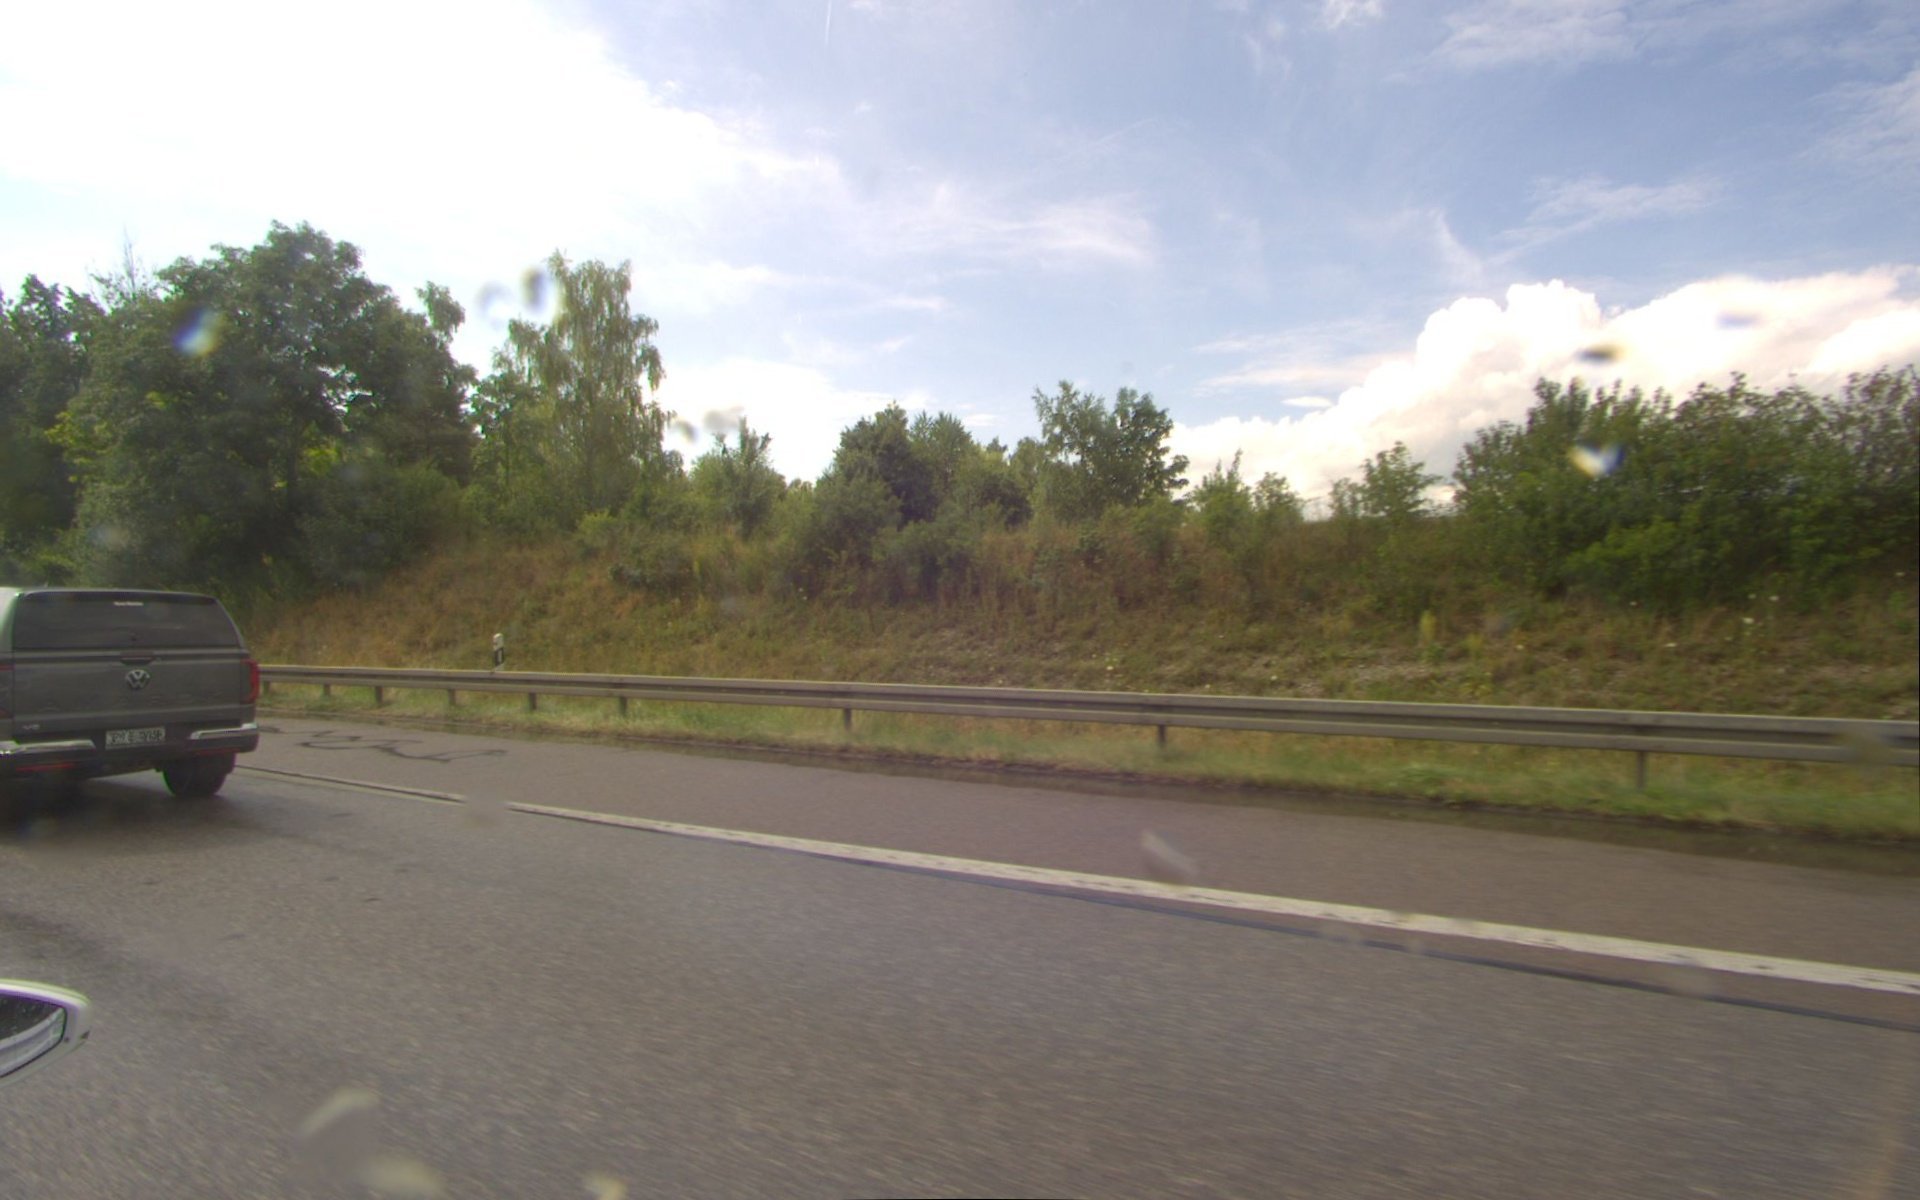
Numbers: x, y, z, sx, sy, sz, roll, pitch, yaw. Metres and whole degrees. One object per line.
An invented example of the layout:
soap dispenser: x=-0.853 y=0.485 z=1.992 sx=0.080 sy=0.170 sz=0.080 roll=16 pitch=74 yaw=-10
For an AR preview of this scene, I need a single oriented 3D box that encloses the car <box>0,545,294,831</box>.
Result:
car: x=-8.463 y=0.677 z=9.032 sx=5.570 sy=1.943 sz=1.939 roll=-1 pitch=-2 yaw=31
